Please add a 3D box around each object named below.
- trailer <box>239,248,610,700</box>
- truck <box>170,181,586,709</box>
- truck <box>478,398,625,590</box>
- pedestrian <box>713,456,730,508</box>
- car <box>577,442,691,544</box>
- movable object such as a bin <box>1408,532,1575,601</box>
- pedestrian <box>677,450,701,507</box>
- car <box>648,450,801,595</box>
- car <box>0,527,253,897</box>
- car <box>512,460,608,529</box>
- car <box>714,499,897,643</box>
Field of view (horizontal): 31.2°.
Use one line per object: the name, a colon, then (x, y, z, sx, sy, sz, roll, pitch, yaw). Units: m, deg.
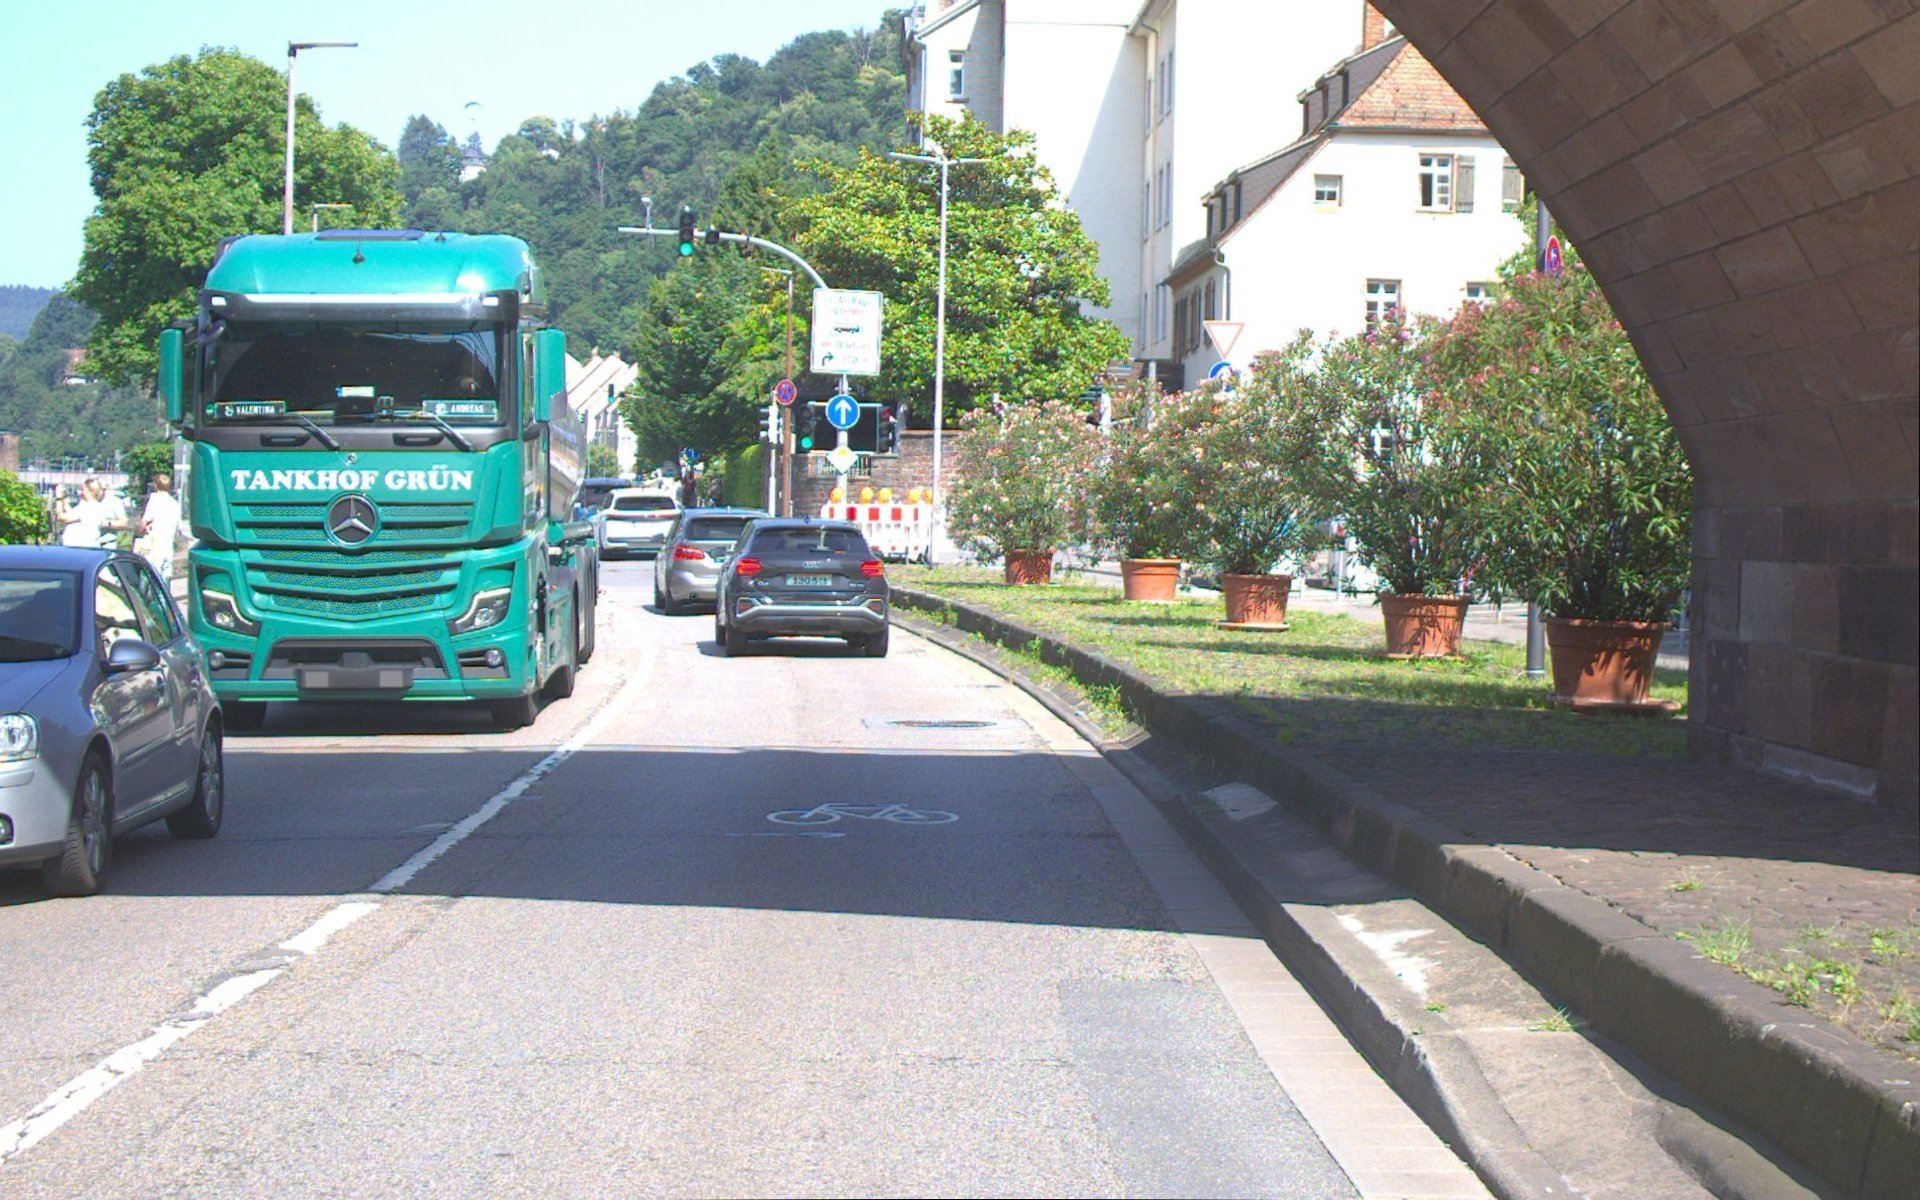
trailer: (-4.894, -1.190, 33.438, 2.523, 3.631, 11.533, 0, 2, -4)
truck: (-4.471, -1.216, 27.566, 2.523, 3.735, 6.247, -1, 2, -3)
truck: (-7.582, -1.985, 63.168, 2.375, 3.250, 7.614, -2, 3, -8)
pedestrian: (-7.406, -3.657, 106.795, 0.455, 1.600, 0.579, 1, 1, -7)
car: (-6.904, -2.236, 72.484, 1.993, 2.007, 4.001, 2, 1, -10)
movable object such as a bin: (9.006, -0.588, 58.207, 2.948, 1.106, 1.257, -1, 3, -44)
pedestrian: (-8.488, -3.800, 107.562, 0.680, 1.736, 0.913, 1, 1, -7)
car: (-3.473, -1.104, 50.061, 1.993, 2.007, 4.001, 0, 0, -7)
car: (-4.447, 0.400, 15.478, 1.723, 1.432, 4.401, -1, 1, -2)
car: (-10.374, -2.699, 88.969, 1.993, 1.656, 4.001, 1, 0, -13)
car: (-1.790, -0.343, 38.653, 1.856, 1.518, 4.001, 0, 1, -5)
